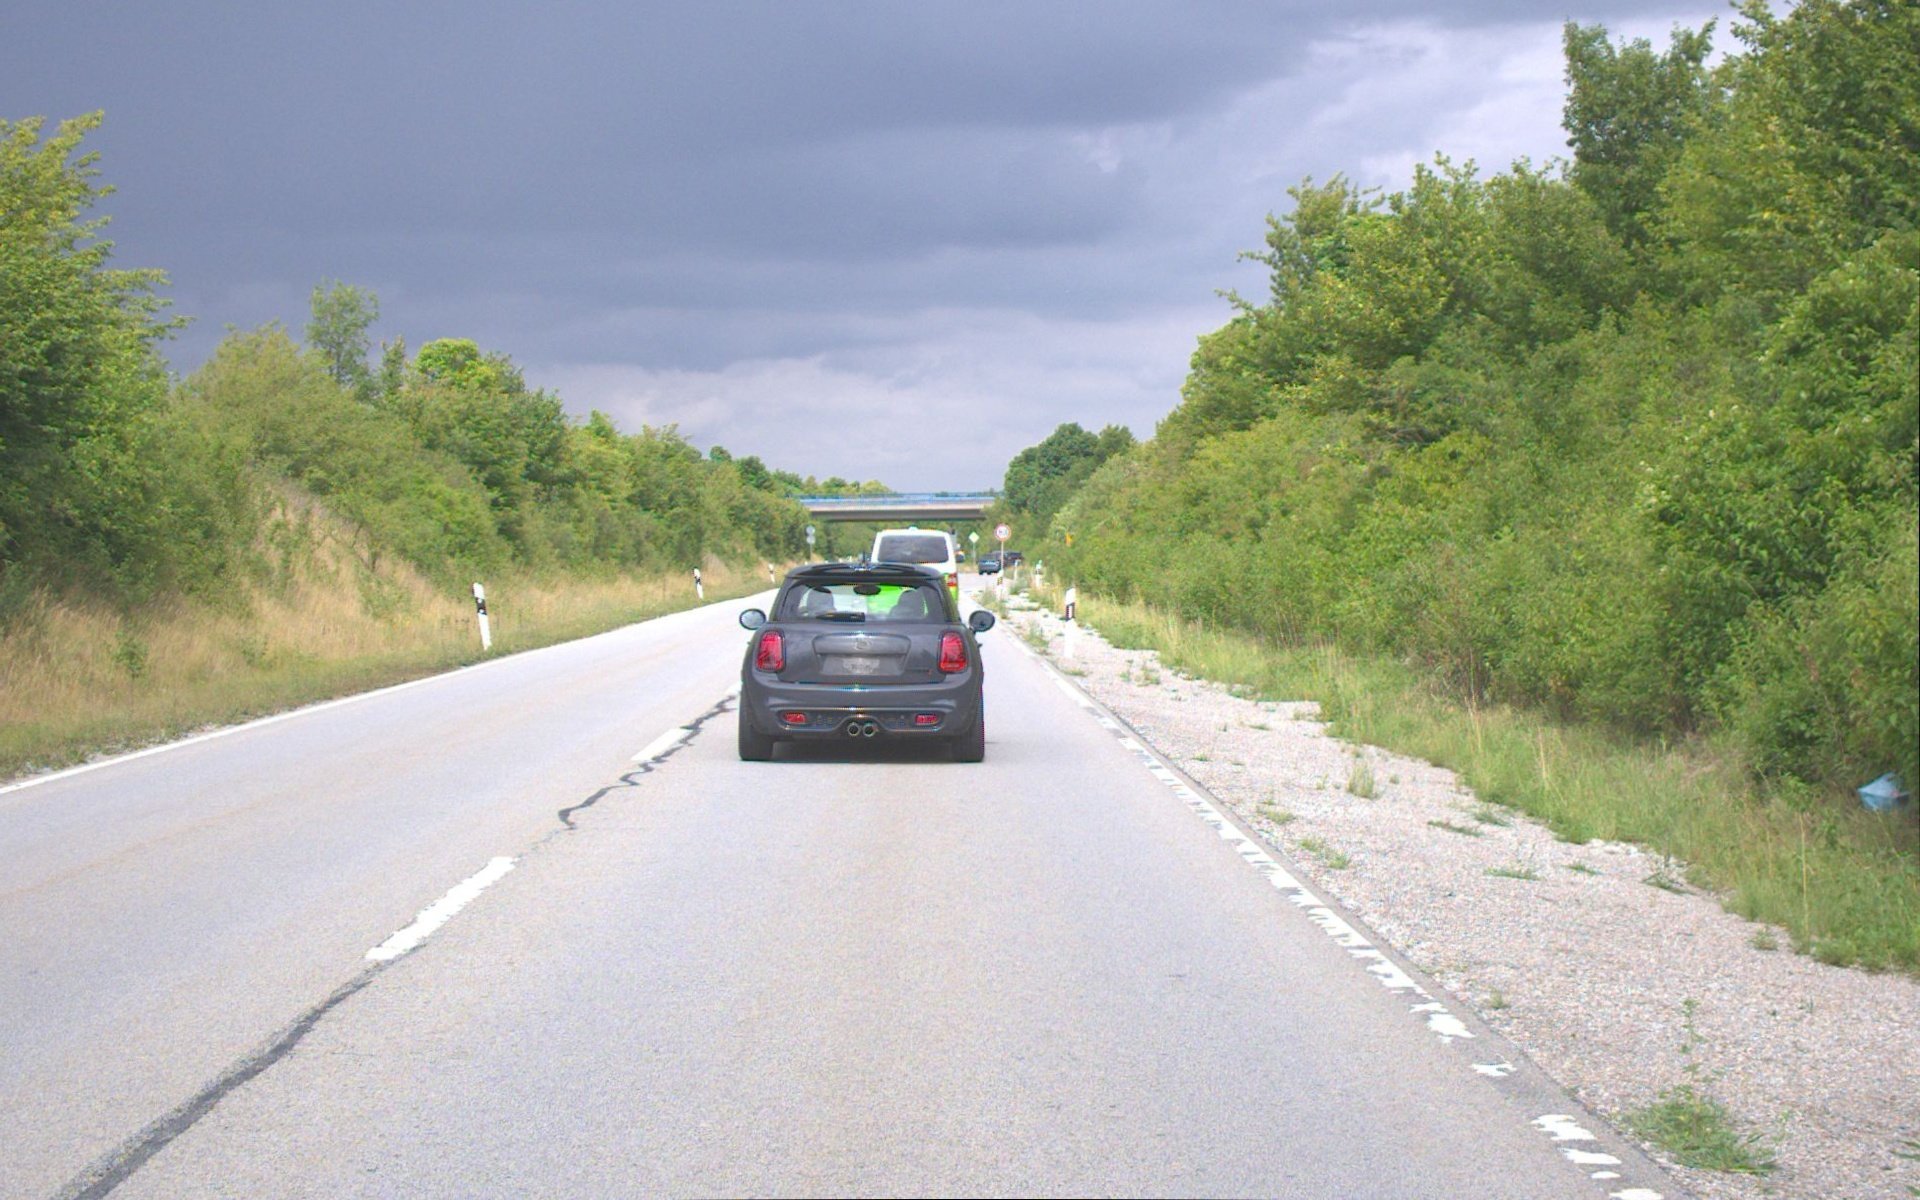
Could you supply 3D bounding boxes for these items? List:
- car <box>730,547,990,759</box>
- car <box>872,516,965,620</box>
[{"bbox_3d":[-0.717,0.338,25.545,1.756,1.422,4.000,1,1,-1],"label":"car"},{"bbox_3d":[-0.864,-0.663,70.975,1.819,2.047,4.000,1,1,-1],"label":"car"}]
